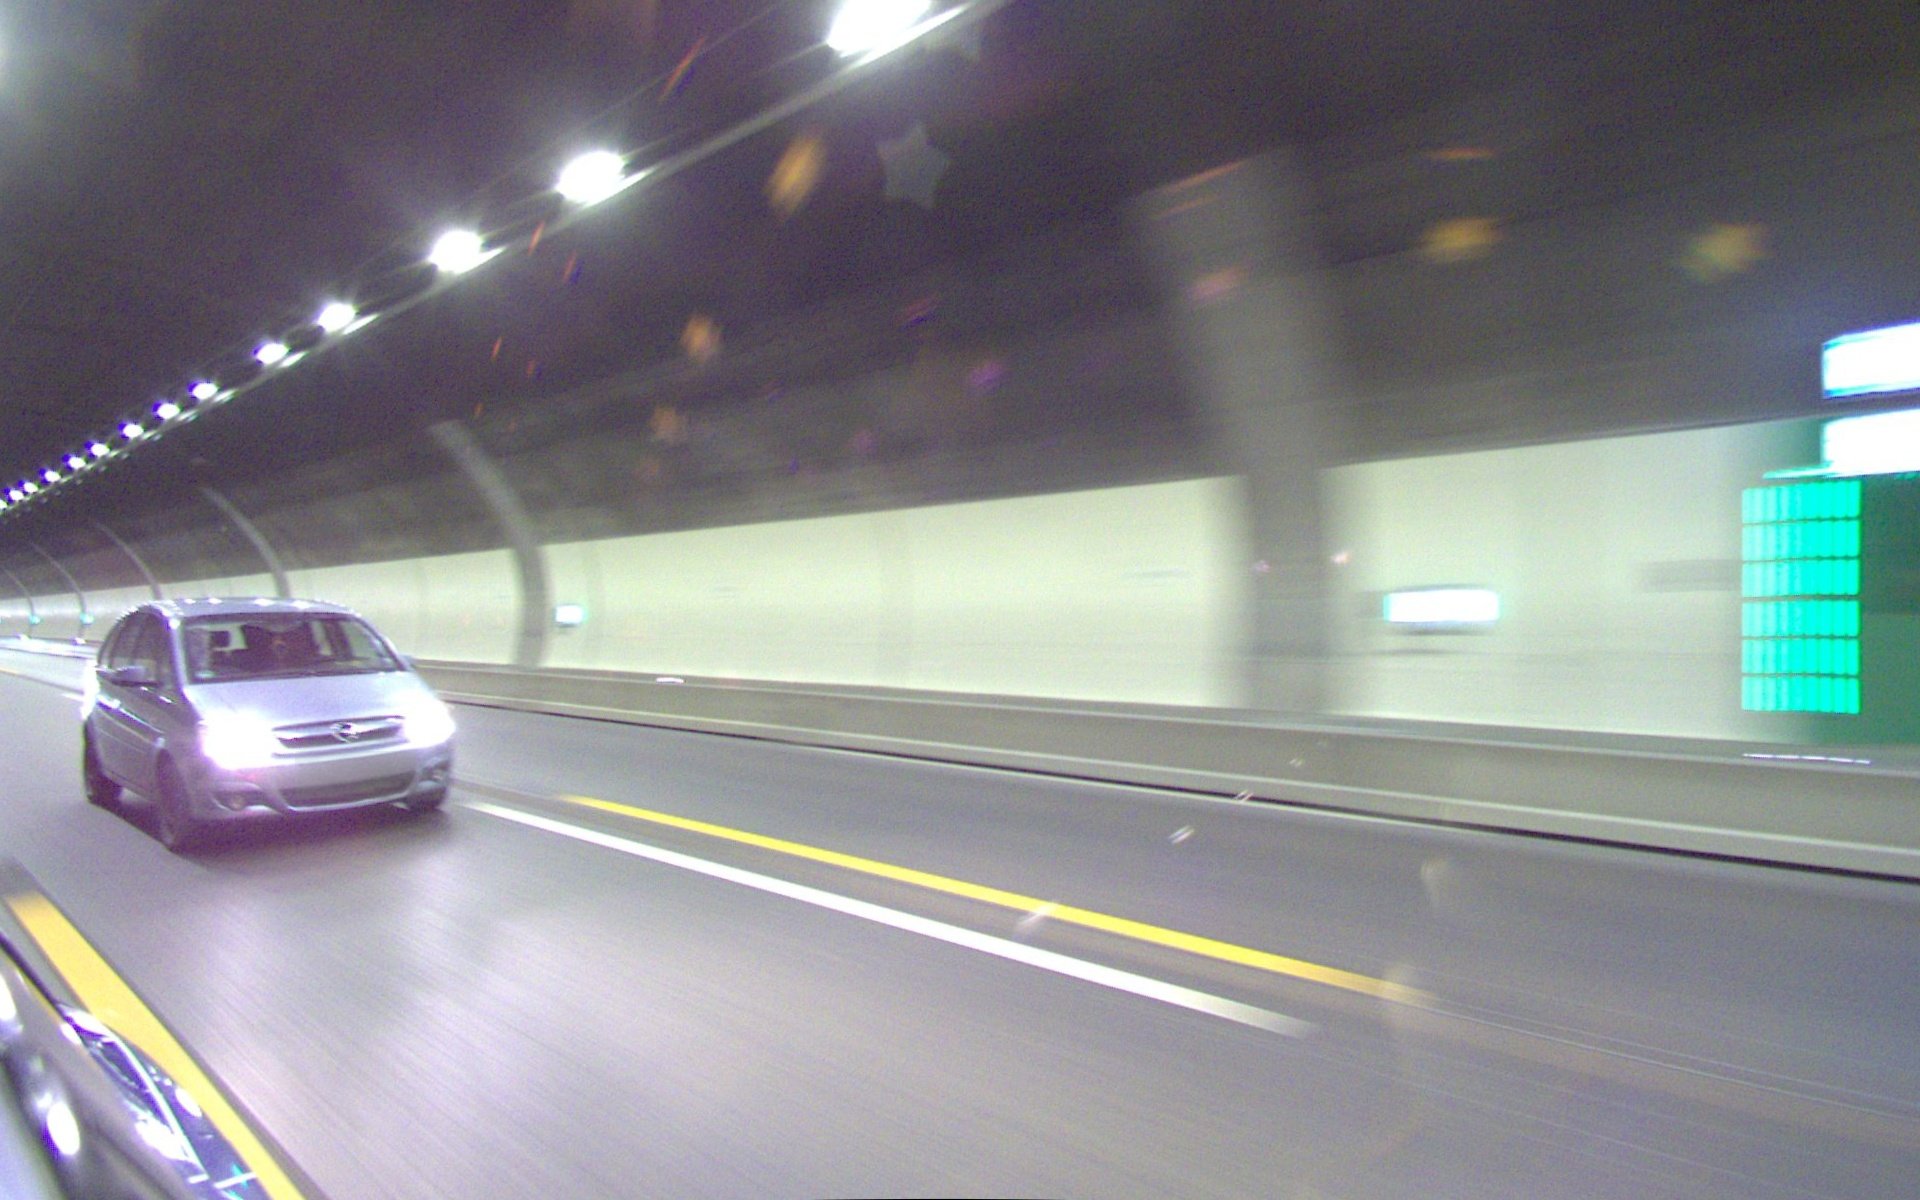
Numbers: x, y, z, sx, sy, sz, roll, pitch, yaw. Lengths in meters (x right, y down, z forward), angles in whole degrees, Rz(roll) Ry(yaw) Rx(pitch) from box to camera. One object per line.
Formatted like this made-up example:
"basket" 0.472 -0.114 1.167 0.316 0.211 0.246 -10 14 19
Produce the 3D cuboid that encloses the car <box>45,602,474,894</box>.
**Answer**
"car" -5.399 0.838 7.574 4.096 1.584 1.743 -1 0 42
